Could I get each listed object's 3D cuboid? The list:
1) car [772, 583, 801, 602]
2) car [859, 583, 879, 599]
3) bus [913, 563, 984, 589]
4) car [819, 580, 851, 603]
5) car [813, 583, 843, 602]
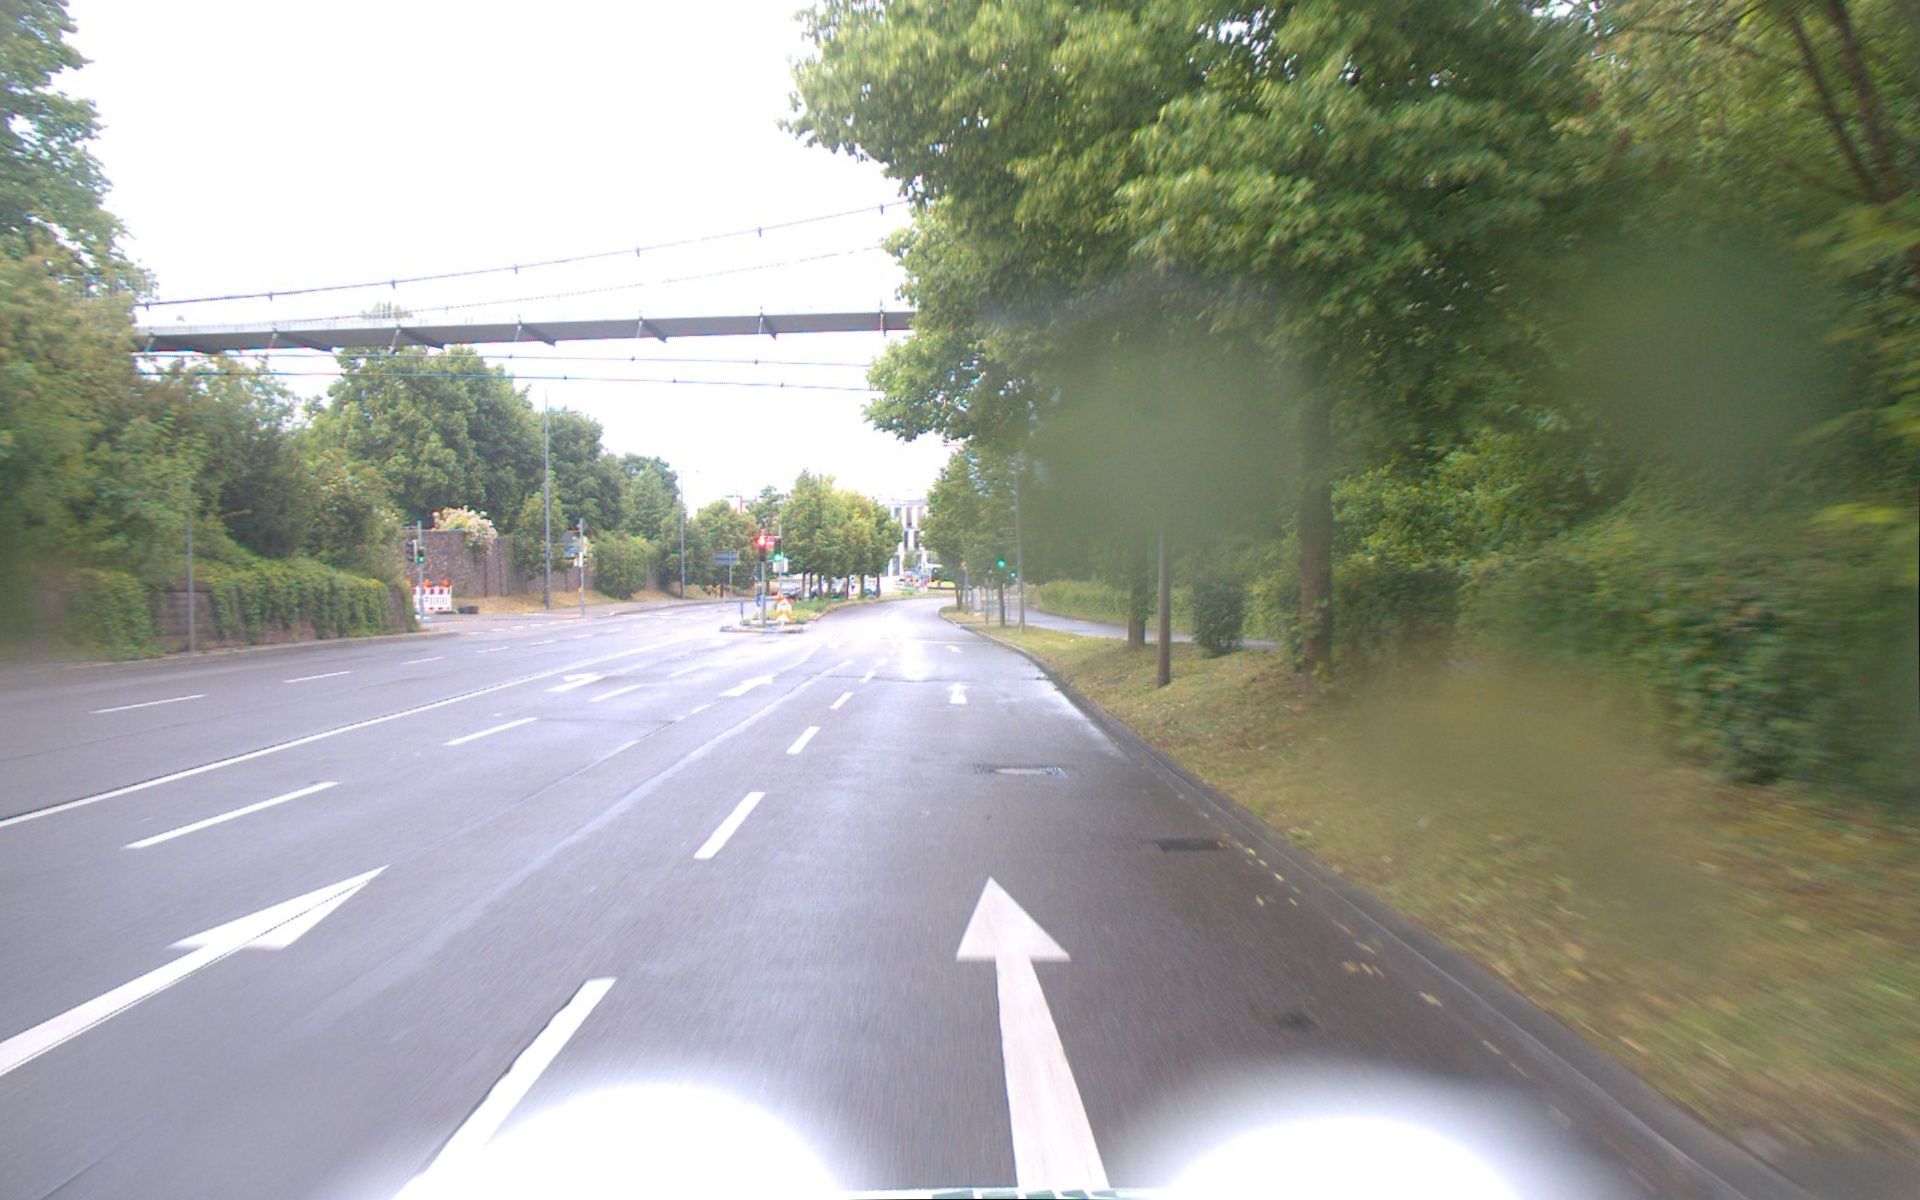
[{"bbox_3d":[-14.556,-0.627,139.211,1.564,1.515,4.003,1,1,6],"label":"car"},{"bbox_3d":[-9.687,-0.952,176.219,1.650,1.566,2.918,1,1,6],"label":"car"},{"bbox_3d":[-1.507,-3.395,237.840,2.729,3.416,18.215,0,0,24],"label":"bus"},{"bbox_3d":[-10.787,-0.712,143.363,1.971,1.952,5.098,1,0,4],"label":"car"},{"bbox_3d":[-12.353,-0.698,155.100,1.841,1.623,4.770,2,0,6],"label":"car"}]
